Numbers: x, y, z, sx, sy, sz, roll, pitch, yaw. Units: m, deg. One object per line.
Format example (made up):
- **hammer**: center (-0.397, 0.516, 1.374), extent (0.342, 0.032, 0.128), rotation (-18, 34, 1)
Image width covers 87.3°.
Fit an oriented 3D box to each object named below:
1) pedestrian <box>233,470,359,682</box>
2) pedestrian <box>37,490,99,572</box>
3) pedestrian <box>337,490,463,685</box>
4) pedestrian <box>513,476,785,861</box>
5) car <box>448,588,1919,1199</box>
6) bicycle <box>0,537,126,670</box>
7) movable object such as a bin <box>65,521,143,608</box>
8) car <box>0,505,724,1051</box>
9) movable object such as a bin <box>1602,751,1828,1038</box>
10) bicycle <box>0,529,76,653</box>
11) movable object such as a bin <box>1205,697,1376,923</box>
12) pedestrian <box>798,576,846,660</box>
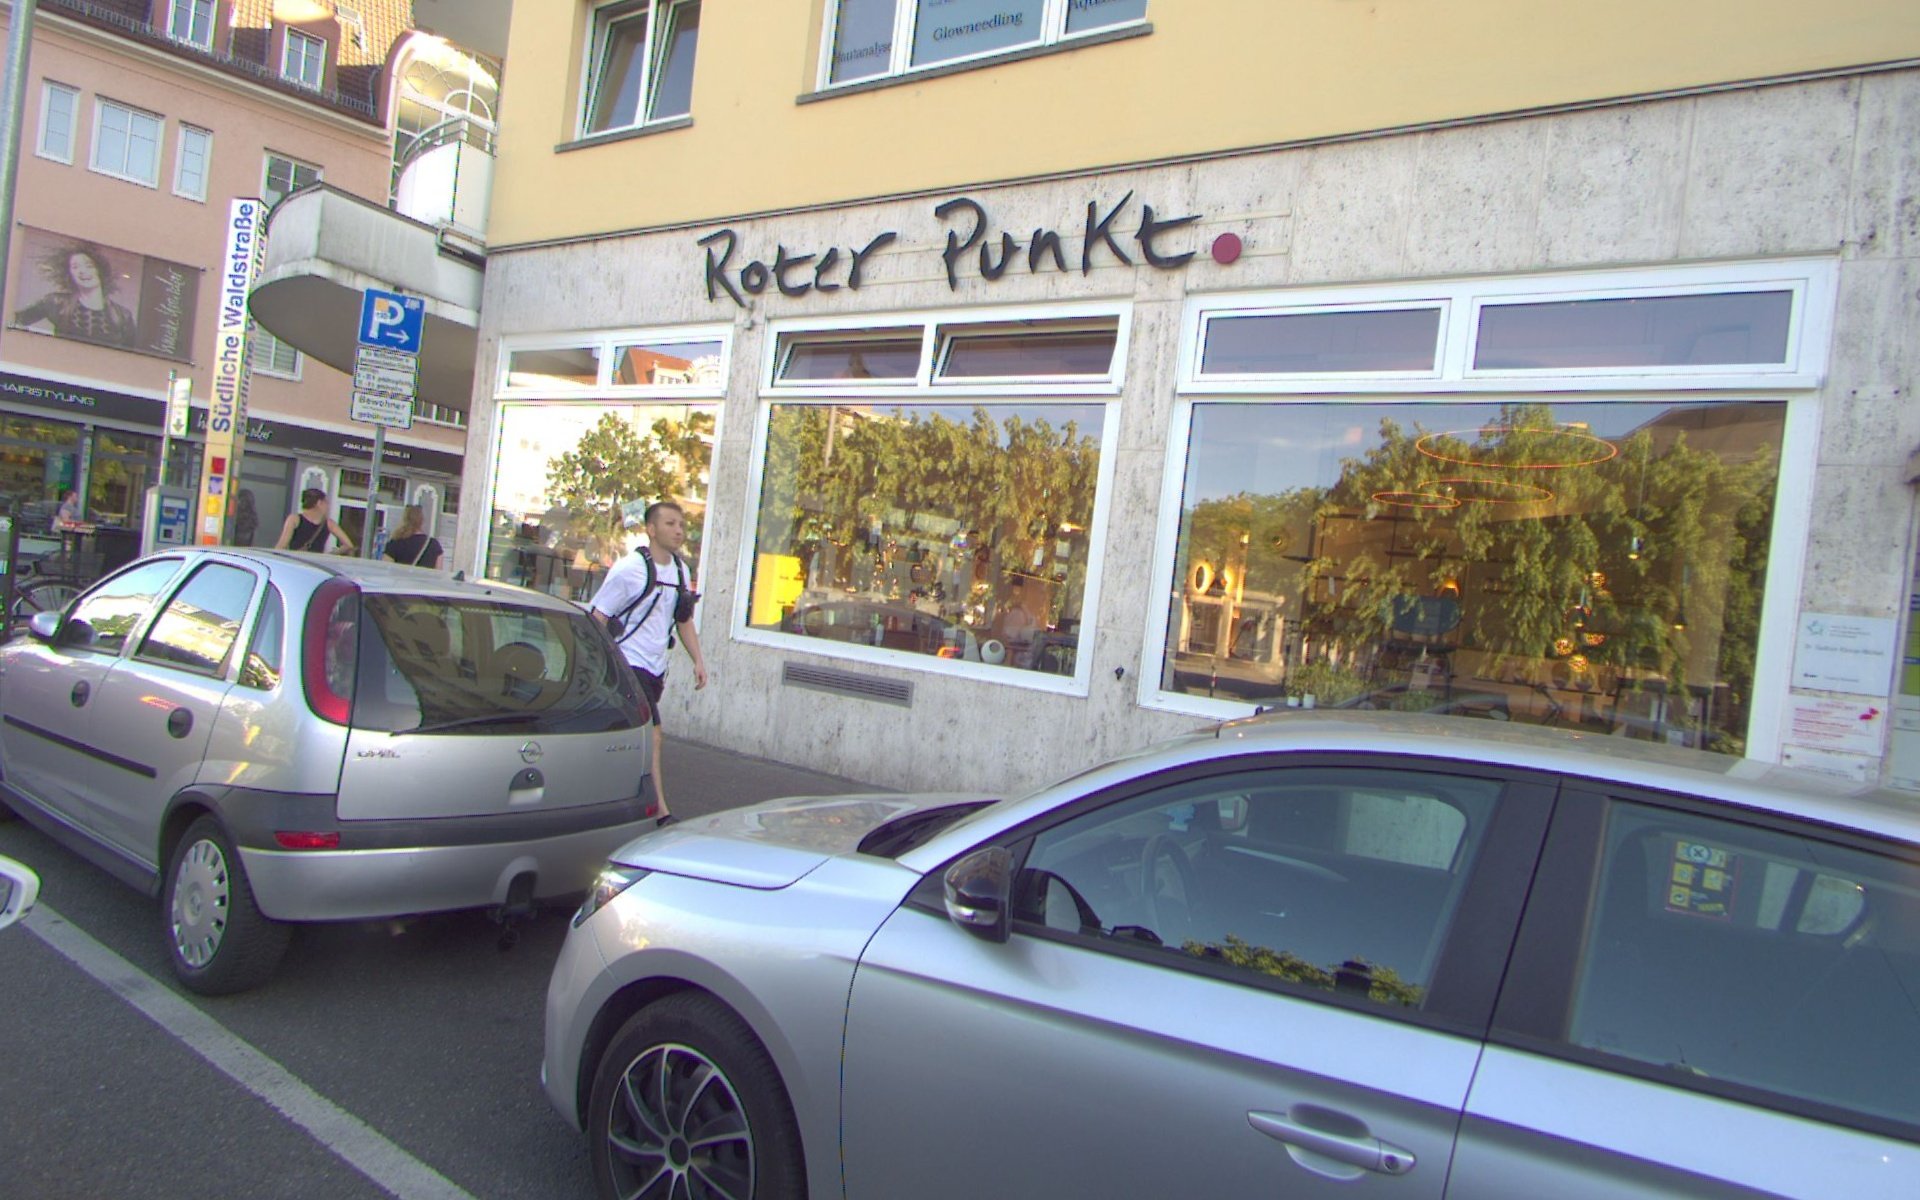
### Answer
- **pedestrian**: center (-6.231, -0.227, 9.432), extent (0.881, 1.874, 0.679), rotation (6, 3, 39)
- **pedestrian**: center (-18.348, -1.408, 20.712), extent (0.718, 1.567, 0.784), rotation (8, -1, -36)
- **pedestrian**: center (-5.420, -0.120, 9.737), extent (0.776, 1.777, 0.720), rotation (6, 2, 37)
- **pedestrian**: center (-1.674, 0.328, 5.437), extent (0.967, 1.845, 0.809), rotation (6, 0, 35)
- **car**: center (0.770, 0.941, 2.286), extent (3.624, 1.453, 1.587), rotation (6, -2, 30)
- **bicycle**: center (-8.175, 0.000, 8.258), extent (0.642, 1.057, 1.884), rotation (7, 0, 33)
- **movable object such as a bin**: center (-11.967, -0.491, 14.069), extent (0.716, 1.117, 0.636), rotation (7, 2, 35)
- **car**: center (-2.967, 0.481, 4.465), extent (3.520, 1.443, 1.587), rotation (6, -2, 32)
- **movable object such as a bin**: center (3.363, 1.263, 4.551), extent (0.639, 1.035, 0.738), rotation (6, -1, 31)
- **bicycle**: center (-9.066, -0.154, 8.802), extent (0.642, 1.072, 1.816), rotation (7, -1, 33)
- **movable object such as a bin**: center (1.814, 1.094, 5.481), extent (0.639, 1.035, 0.738), rotation (6, -1, 31)
- **pedestrian**: center (-3.282, 0.421, 23.915), extent (0.778, 1.895, 0.718), rotation (4, 2, -31)
